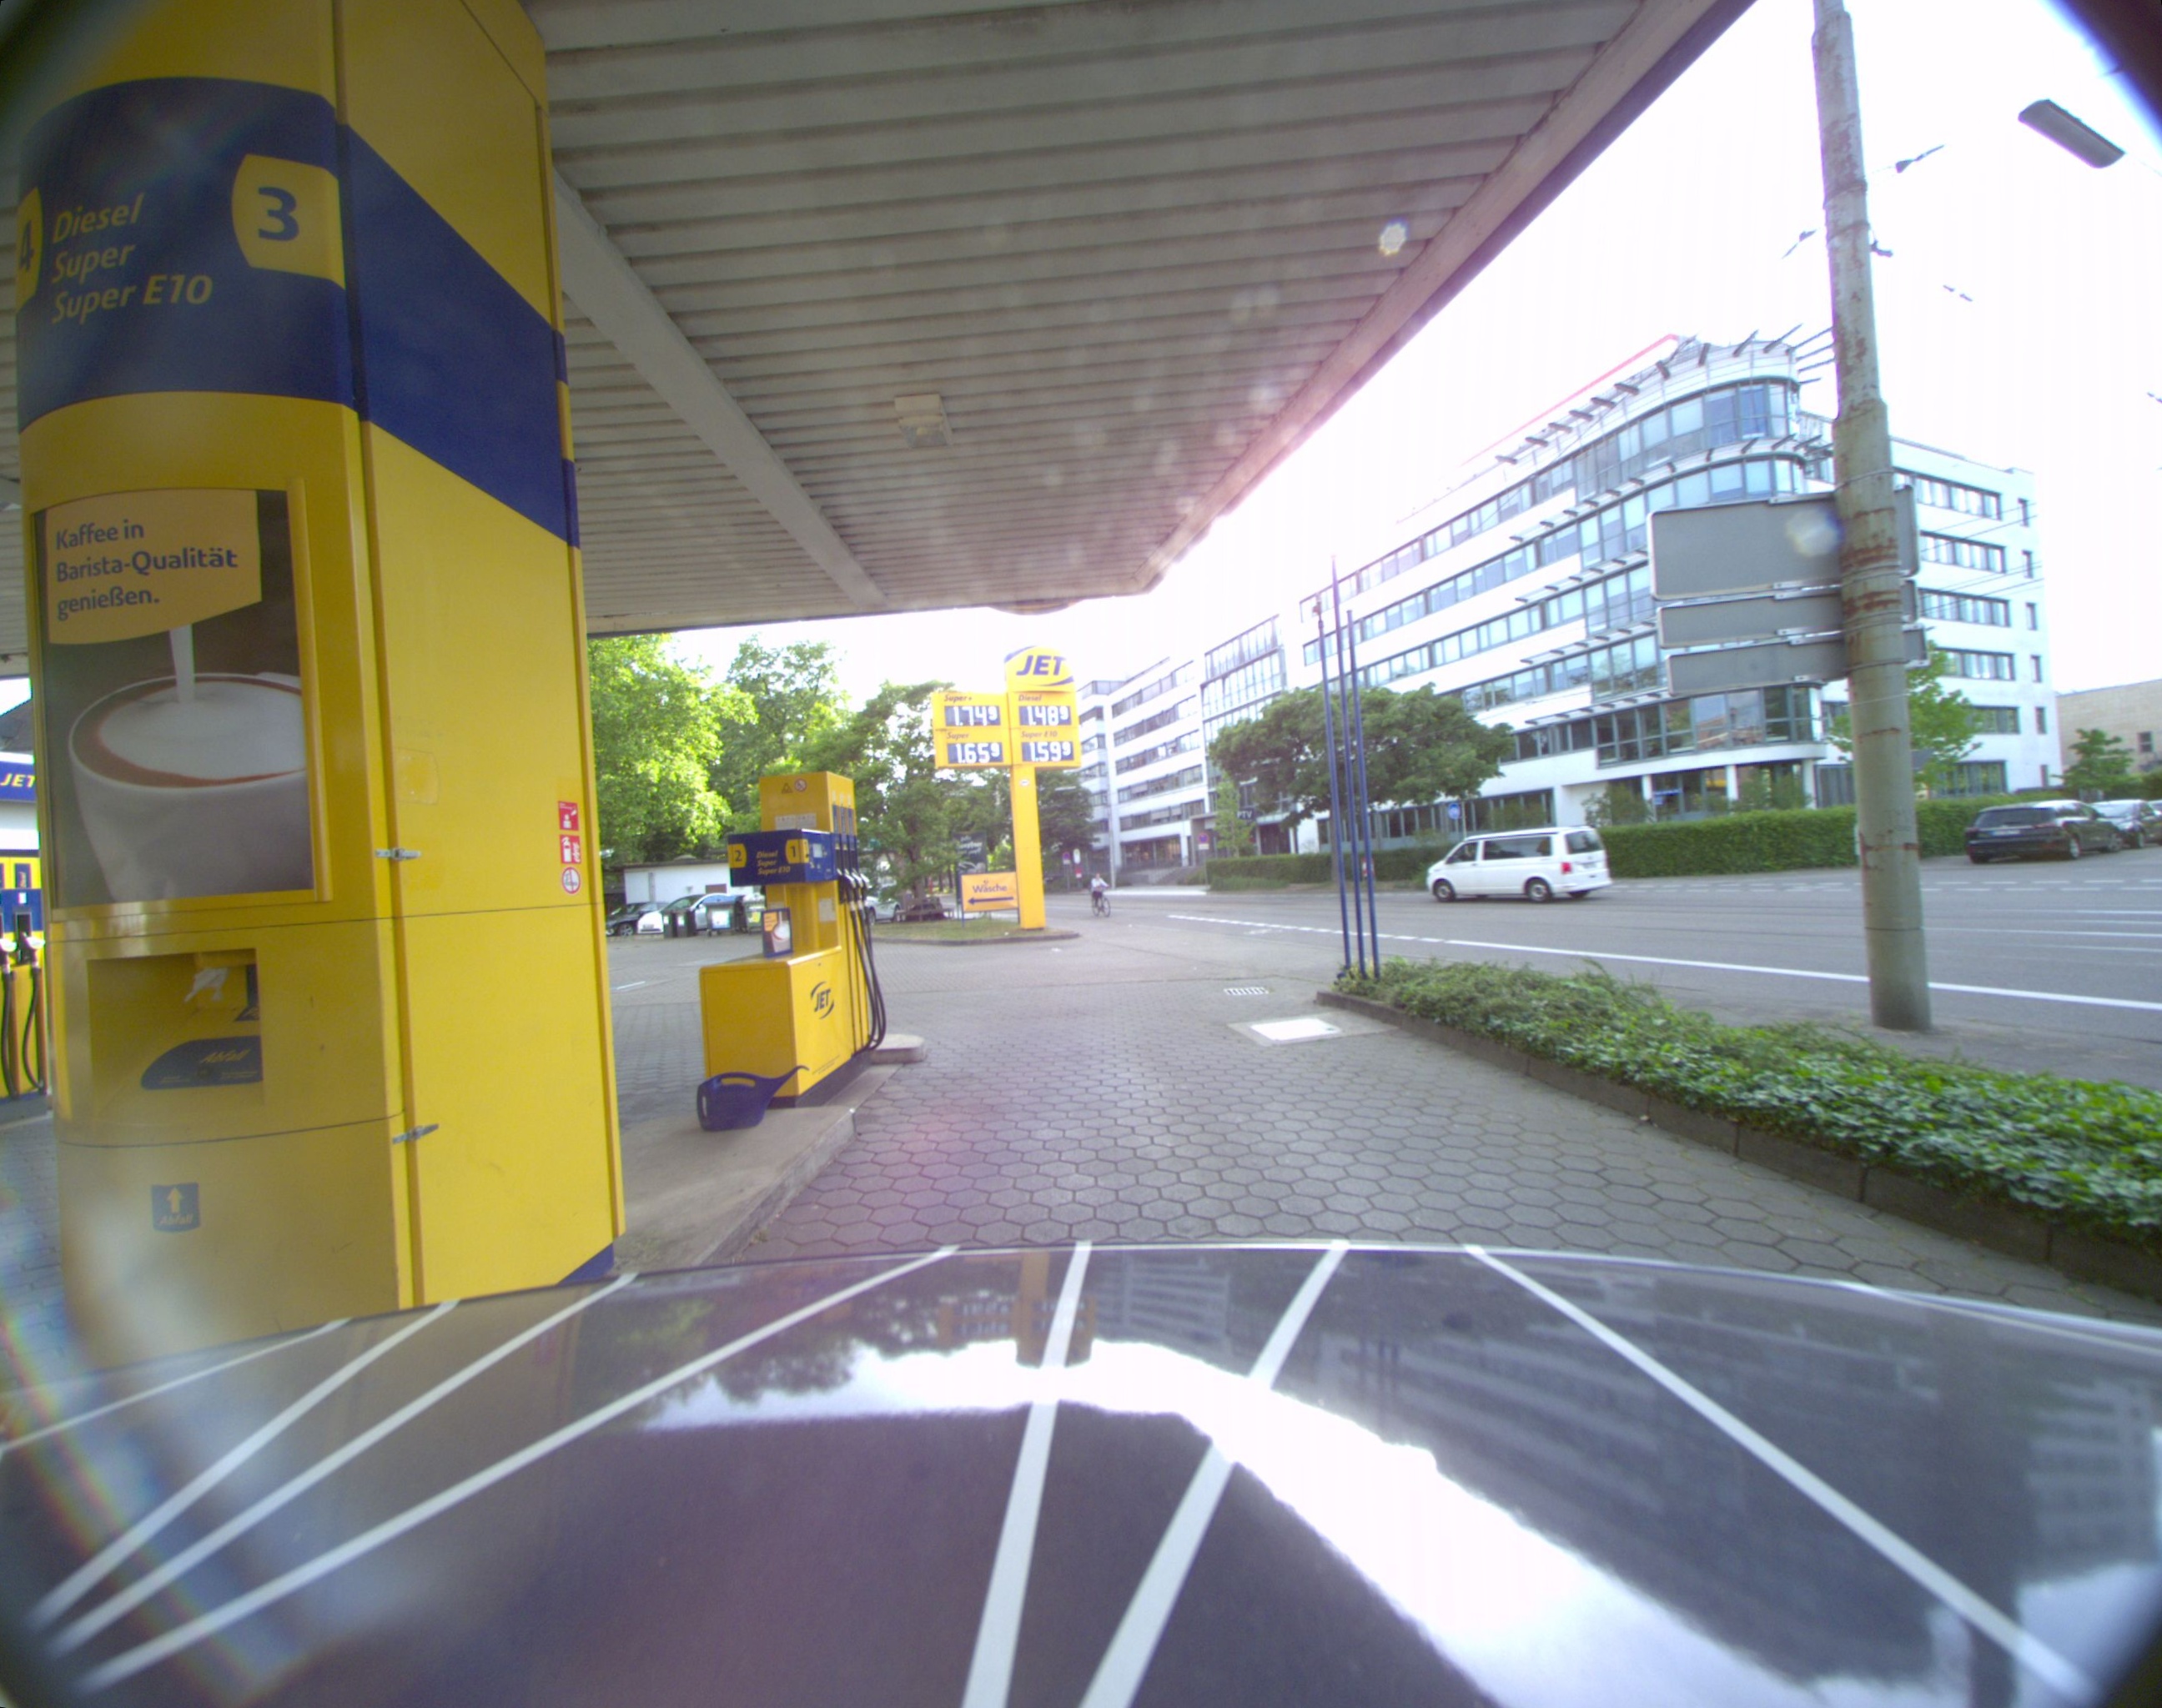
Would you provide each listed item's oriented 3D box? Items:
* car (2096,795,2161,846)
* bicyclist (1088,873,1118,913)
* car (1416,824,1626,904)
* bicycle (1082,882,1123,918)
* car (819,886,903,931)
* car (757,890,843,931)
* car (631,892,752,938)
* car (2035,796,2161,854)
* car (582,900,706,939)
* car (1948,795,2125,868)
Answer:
[{"bbox_3d":[37.148,-1.233,26.083,4.109,1.544,1.786,-4,-1,-23],"label":"car"},{"bbox_3d":[0.829,1.483,28.912,0.736,1.451,0.915,-6,0,-21],"label":"bicyclist"},{"bbox_3d":[12.431,0.346,21.909,2.002,1.956,4.881,-3,-1,-24],"label":"car"},{"bbox_3d":[0.808,1.734,29.008,0.736,1.250,1.936,-6,0,-21],"label":"bicycle"},{"bbox_3d":[-8.689,2.121,30.389,1.739,1.500,4.003,-4,-2,6],"label":"car"},{"bbox_3d":[-11.804,2.328,32.251,1.739,1.500,4.004,-4,-2,6],"label":"car"},{"bbox_3d":[-15.362,2.389,30.263,1.785,1.514,4.229,-4,-3,17],"label":"car"},{"bbox_3d":[32.488,-0.938,24.045,4.109,1.544,1.786,-4,-1,-23],"label":"car"},{"bbox_3d":[-17.748,2.637,31.079,1.745,1.269,4.230,-5,-3,19],"label":"car"},{"bbox_3d":[27.373,-0.646,21.774,4.438,1.603,1.976,-5,-1,-23],"label":"car"}]
